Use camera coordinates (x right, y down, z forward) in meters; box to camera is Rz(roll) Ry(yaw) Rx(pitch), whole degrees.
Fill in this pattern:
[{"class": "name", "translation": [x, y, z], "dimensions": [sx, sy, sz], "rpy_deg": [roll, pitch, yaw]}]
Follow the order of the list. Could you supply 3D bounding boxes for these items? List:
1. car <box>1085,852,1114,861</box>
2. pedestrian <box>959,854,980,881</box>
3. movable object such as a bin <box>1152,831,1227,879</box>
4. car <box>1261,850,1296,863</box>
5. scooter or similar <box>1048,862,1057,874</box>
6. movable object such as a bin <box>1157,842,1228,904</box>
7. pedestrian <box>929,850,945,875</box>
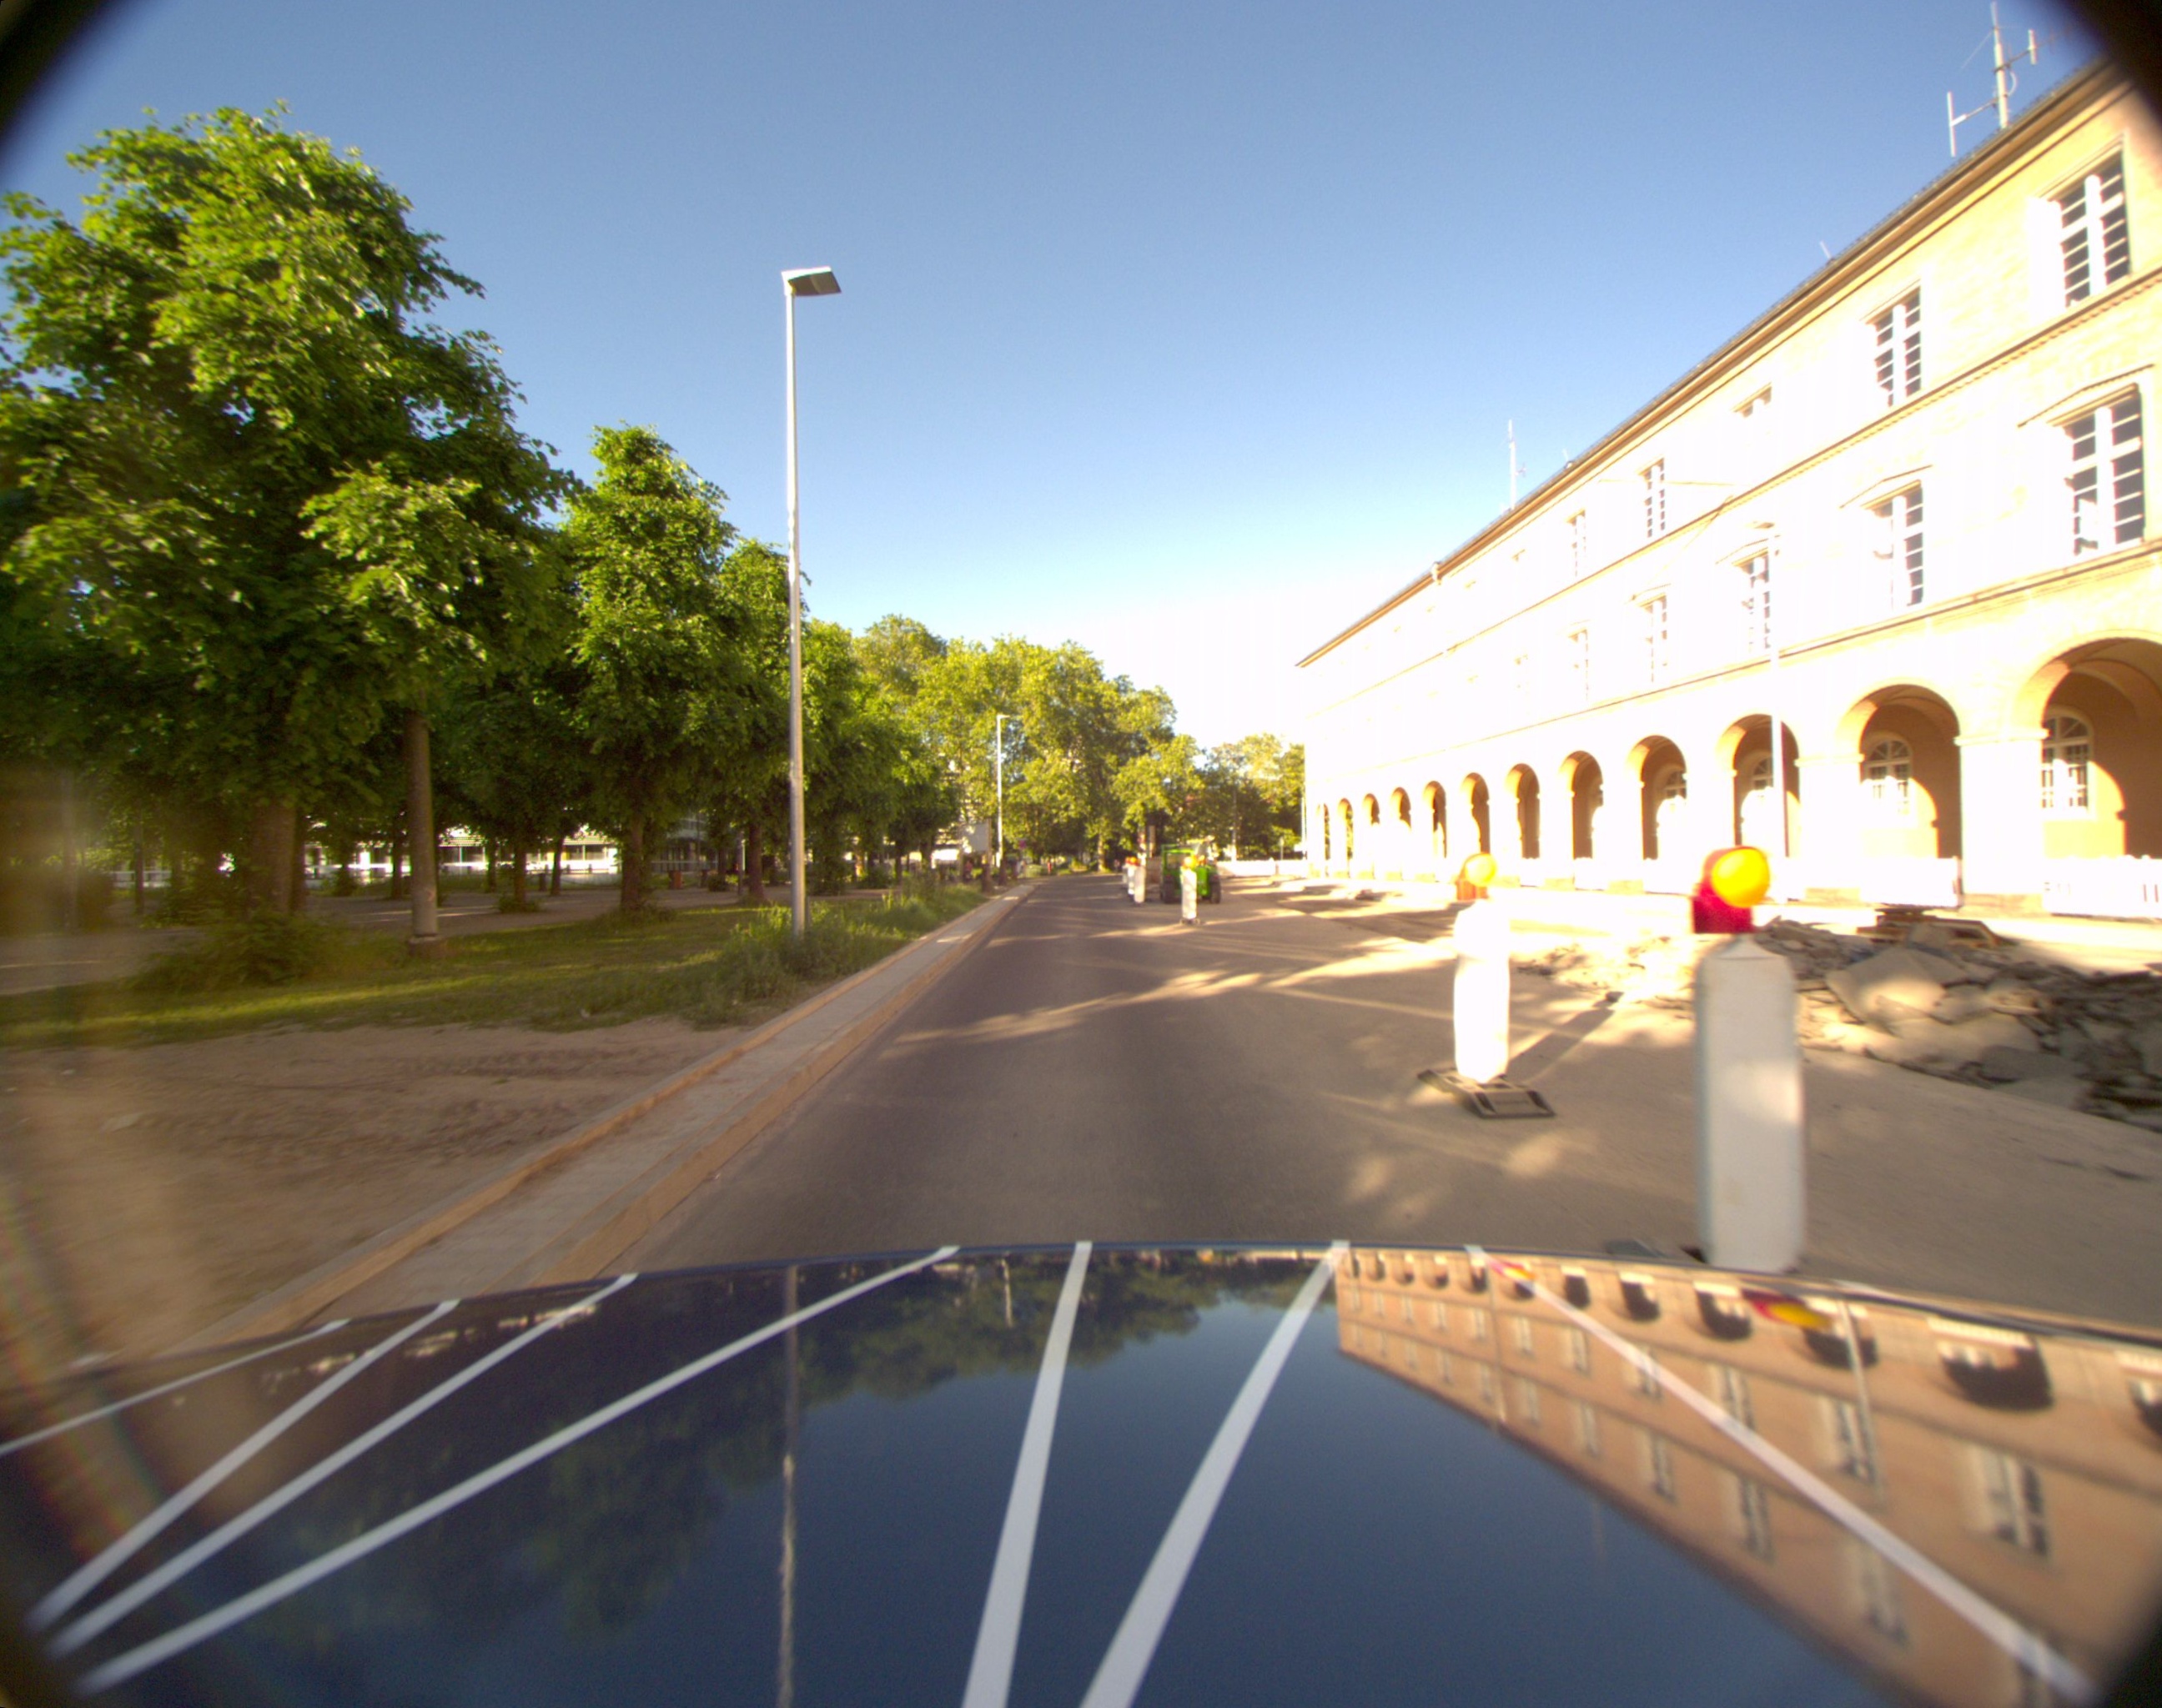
[{"class": "car", "translation": [3.084, 0.389, 127.471], "dimensions": [4.657, 1.466, 2.013], "rpy_deg": [0, -1, -9]}, {"class": "pedestrian", "translation": [-6.773, 0.794, 46.114], "dimensions": [0.941, 1.614, 0.708], "rpy_deg": [-2, 1, -41]}, {"class": "movable object such as a bin", "translation": [7.356, 0.046, 50.902], "dimensions": [2.560, 3.014, 5.943], "rpy_deg": [0, 1, 34]}, {"class": "car", "translation": [25.174, 0.292, 96.953], "dimensions": [4.000, 1.616, 1.552], "rpy_deg": [0, -1, -9]}, {"class": "scooter or similar", "translation": [-2.220, 1.081, 59.595], "dimensions": [0.420, 0.909, 1.148], "rpy_deg": [-2, 2, -17]}, {"class": "movable object such as a bin", "translation": [3.752, 0.648, 26.248], "dimensions": [2.054, 1.937, 4.336], "rpy_deg": [-1, -1, 4]}, {"class": "pedestrian", "translation": [-10.775, 0.624, 56.708], "dimensions": [1.134, 1.801, 0.747], "rpy_deg": [-1, -1, -13]}]
